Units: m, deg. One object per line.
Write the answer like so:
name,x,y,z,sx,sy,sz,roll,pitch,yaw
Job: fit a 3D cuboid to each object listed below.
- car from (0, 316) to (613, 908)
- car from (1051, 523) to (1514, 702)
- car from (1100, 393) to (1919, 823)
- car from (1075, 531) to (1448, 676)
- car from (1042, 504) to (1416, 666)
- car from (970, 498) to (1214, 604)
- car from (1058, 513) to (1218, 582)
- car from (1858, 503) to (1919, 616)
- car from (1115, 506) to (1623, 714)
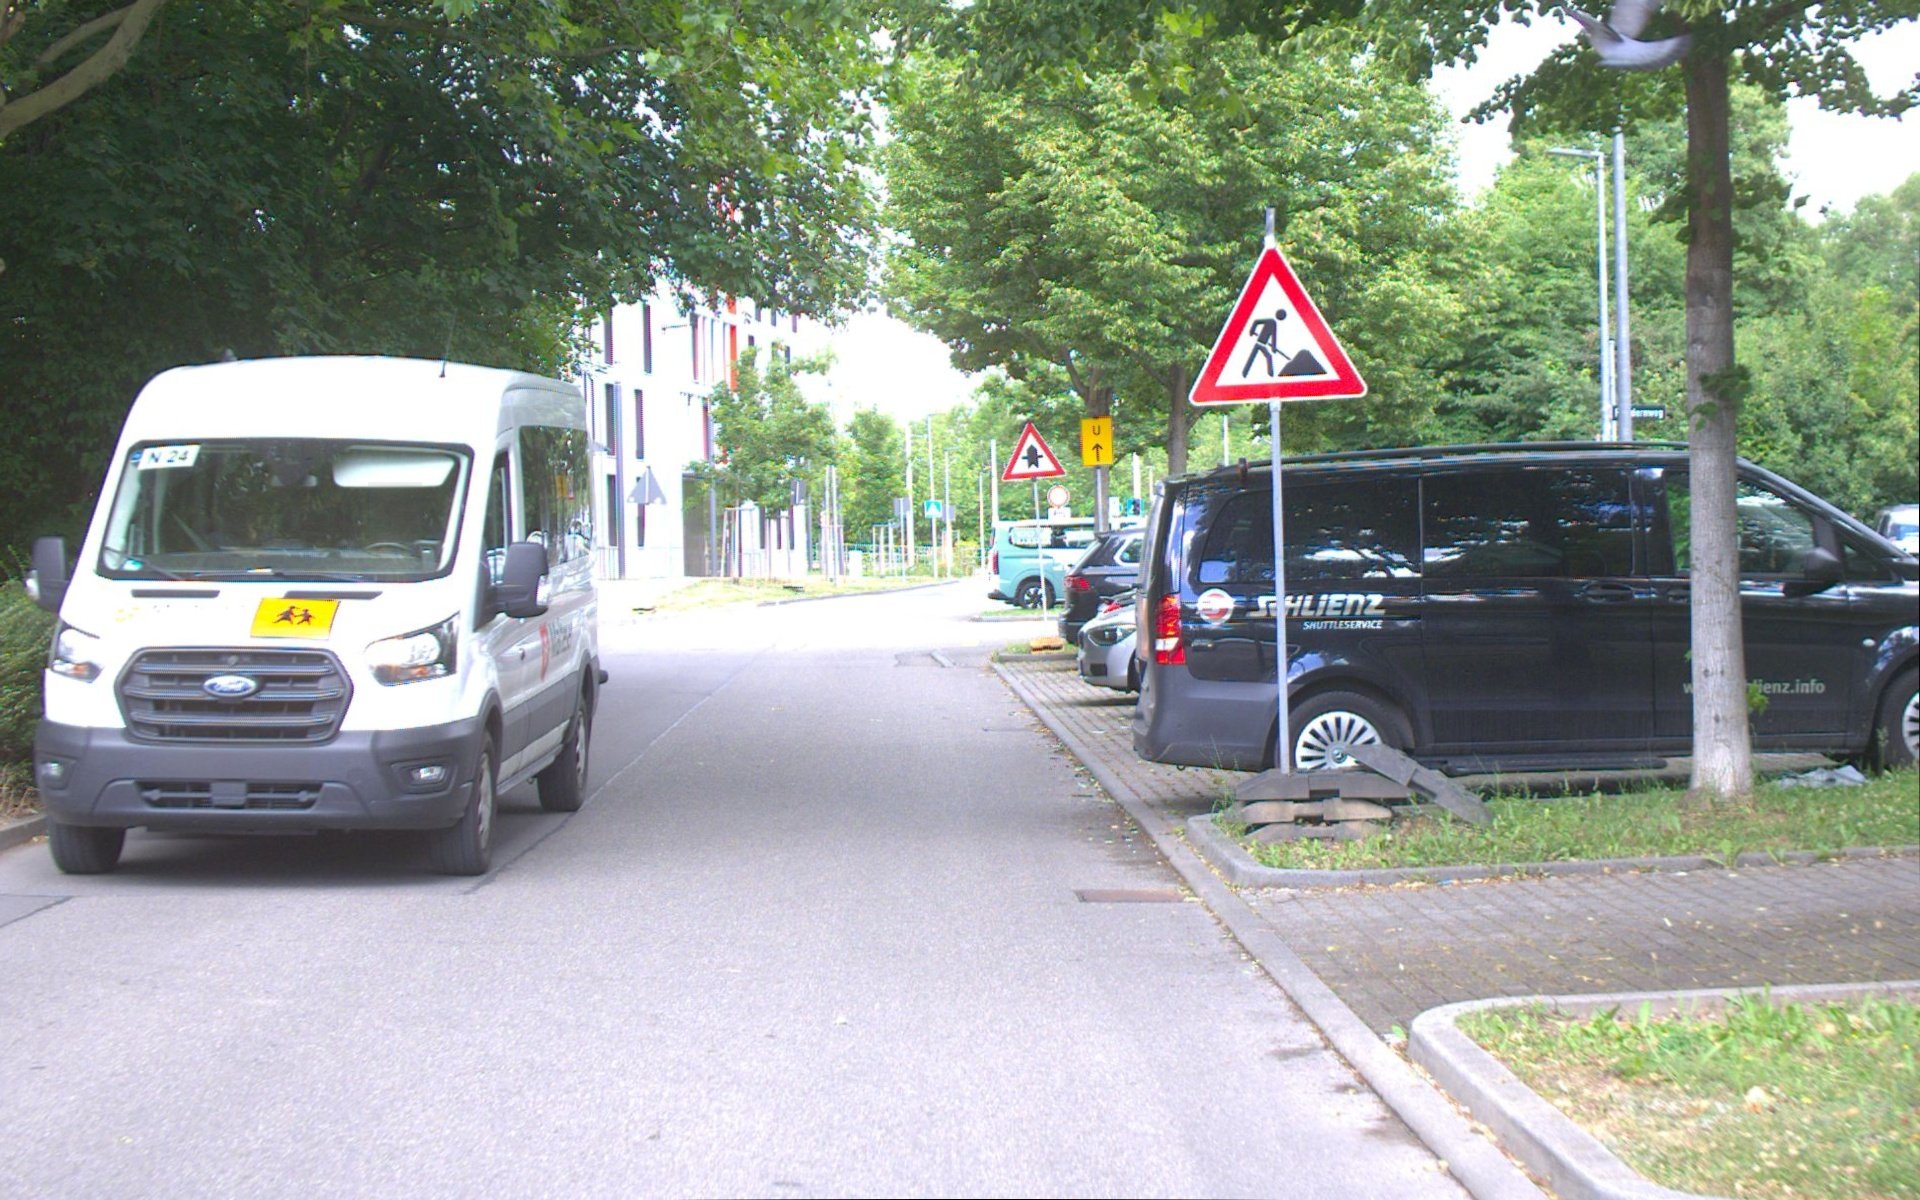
car,-3.167,-0.010,17.525,2.132,2.467,6.277,0,1,0
car,2.906,0.105,31.650,3.987,1.425,1.936,-2,0,-1
car,3.341,0.002,19.008,4.954,2.007,2.166,-3,1,0
car,3.188,0.033,36.827,3.832,1.354,1.822,-2,0,3
car,3.056,-0.175,39.537,4.124,1.644,1.980,-2,0,3
car,2.737,-1.035,72.196,4.972,1.965,1.847,-3,1,0
car,4.966,-1.464,95.556,4.379,1.897,1.936,0,1,4
car,15.506,-0.645,51.410,3.780,1.662,1.767,-1,1,6
car,3.379,0.079,28.942,3.987,1.522,1.811,-2,0,0
